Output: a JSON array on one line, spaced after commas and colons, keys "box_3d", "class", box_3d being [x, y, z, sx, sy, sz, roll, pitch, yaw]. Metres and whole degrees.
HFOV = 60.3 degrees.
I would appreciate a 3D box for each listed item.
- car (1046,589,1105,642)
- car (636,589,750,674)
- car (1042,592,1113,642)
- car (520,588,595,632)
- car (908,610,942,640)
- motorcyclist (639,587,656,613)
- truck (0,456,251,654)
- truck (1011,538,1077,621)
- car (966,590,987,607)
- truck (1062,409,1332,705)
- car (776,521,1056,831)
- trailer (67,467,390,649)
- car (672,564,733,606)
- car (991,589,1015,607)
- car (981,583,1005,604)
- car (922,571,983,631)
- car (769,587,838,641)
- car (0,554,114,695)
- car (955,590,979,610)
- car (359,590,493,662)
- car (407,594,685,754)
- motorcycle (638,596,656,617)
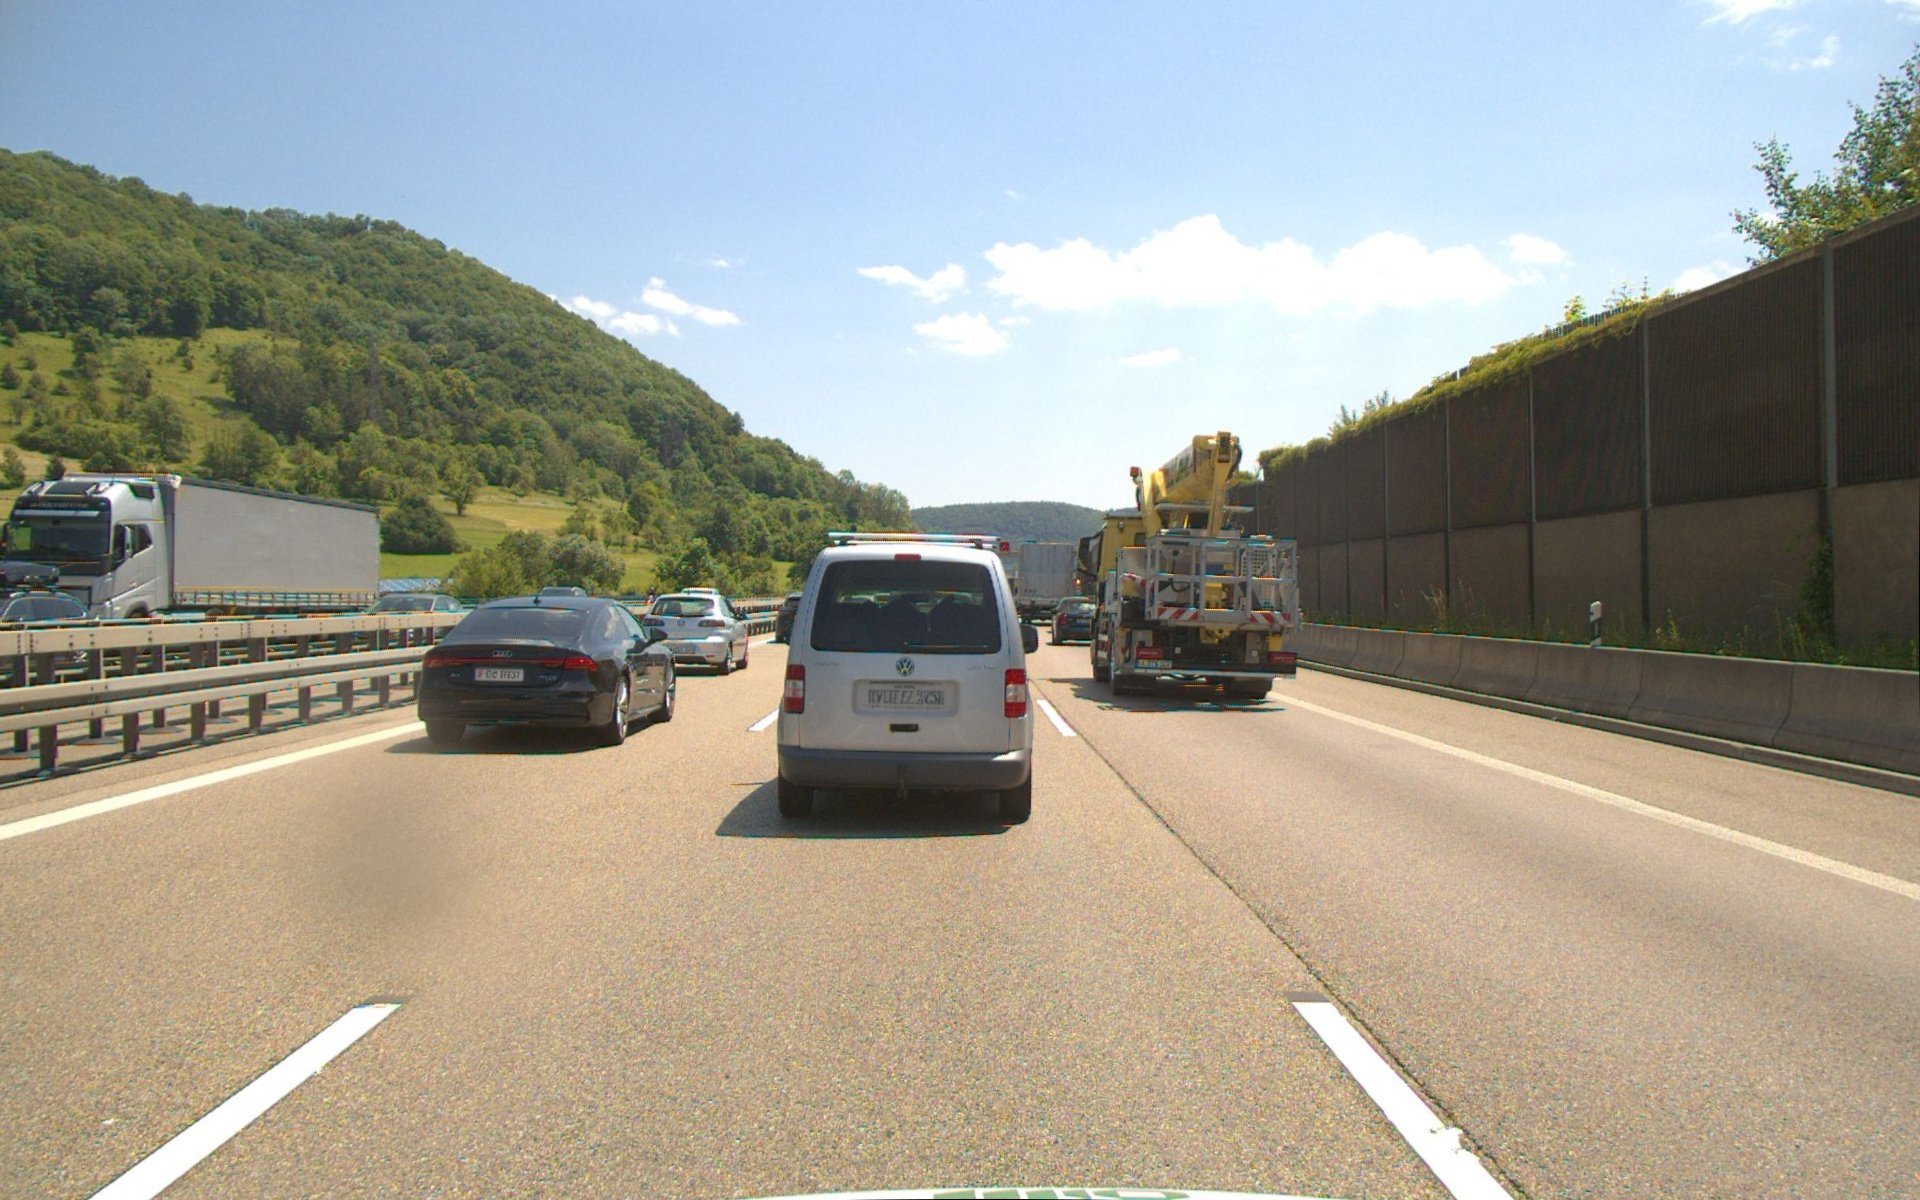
[{"box_3d": [4.636, 0.589, 66.852, 1.953, 2.049, 3.998, 0, 0, -2], "class": "car"}, {"box_3d": [-4.874, 0.533, 30.606, 1.662, 1.470, 3.859, 0, 0, -3], "class": "car"}, {"box_3d": [3.630, 0.502, 51.590, 1.751, 1.484, 3.768, 0, 0, -3], "class": "car"}, {"box_3d": [-15.357, 0.356, 63.343, 1.831, 1.646, 4.355, 0, 0, -1], "class": "car"}, {"box_3d": [-2.232, 1.571, 106.103, 2.071, 1.859, 3.999, 1, 0, -1], "class": "car"}, {"box_3d": [-18.469, 0.000, 97.814, 0.827, 1.527, 0.838, 0, 0, -2], "class": "motorcyclist"}, {"box_3d": [-19.752, -0.965, 38.893, 3.211, 4.220, 6.953, 1, 0, -1], "class": "truck"}, {"box_3d": [4.095, -0.939, 82.558, 2.880, 3.890, 8.237, 1, 0, 1], "class": "truck"}, {"box_3d": [1.837, -0.184, 186.894, 2.072, 1.859, 3.997, 1, 0, -4], "class": "car"}, {"box_3d": [3.499, -0.607, 26.848, 2.650, 4.011, 8.716, 0, 0, -3], "class": "truck"}, {"box_3d": [-0.383, 0.456, 12.198, 1.721, 1.900, 3.997, 0, 0, -3], "class": "car"}, {"box_3d": [-19.726, -0.981, 46.051, 3.181, 4.278, 12.998, 1, 0, 0], "class": "trailer"}, {"box_3d": [-11.163, -0.633, 71.932, 1.953, 1.723, 4.509, 1, 0, -1], "class": "car"}, {"box_3d": [4.381, -0.199, 170.181, 2.072, 1.859, 3.997, 1, 0, -4], "class": "car"}, {"box_3d": [2.815, -0.564, 142.979, 1.953, 1.779, 3.999, 1, 0, -1], "class": "car"}, {"box_3d": [-0.306, 0.023, 58.372, 1.954, 2.010, 3.997, 0, 0, -3], "class": "car"}, {"box_3d": [-4.649, 0.394, 49.596, 1.886, 1.525, 3.997, 1, 0, -3], "class": "car"}, {"box_3d": [-15.635, 0.366, 26.498, 1.846, 2.155, 4.284, 0, 0, 2], "class": "car"}, {"box_3d": [0.688, -0.004, 164.045, 2.072, 1.859, 3.997, 1, 0, -4], "class": "car"}, {"box_3d": [-11.817, 0.540, 36.877, 1.731, 1.510, 4.023, 0, 0, -1], "class": "car"}, {"box_3d": [-4.107, 0.653, 17.255, 1.764, 1.415, 4.968, 0, 0, -1], "class": "car"}, {"box_3d": [-18.469, 0.382, 97.706, 0.703, 1.169, 2.129, 0, 0, -2], "class": "motorcycle"}]
